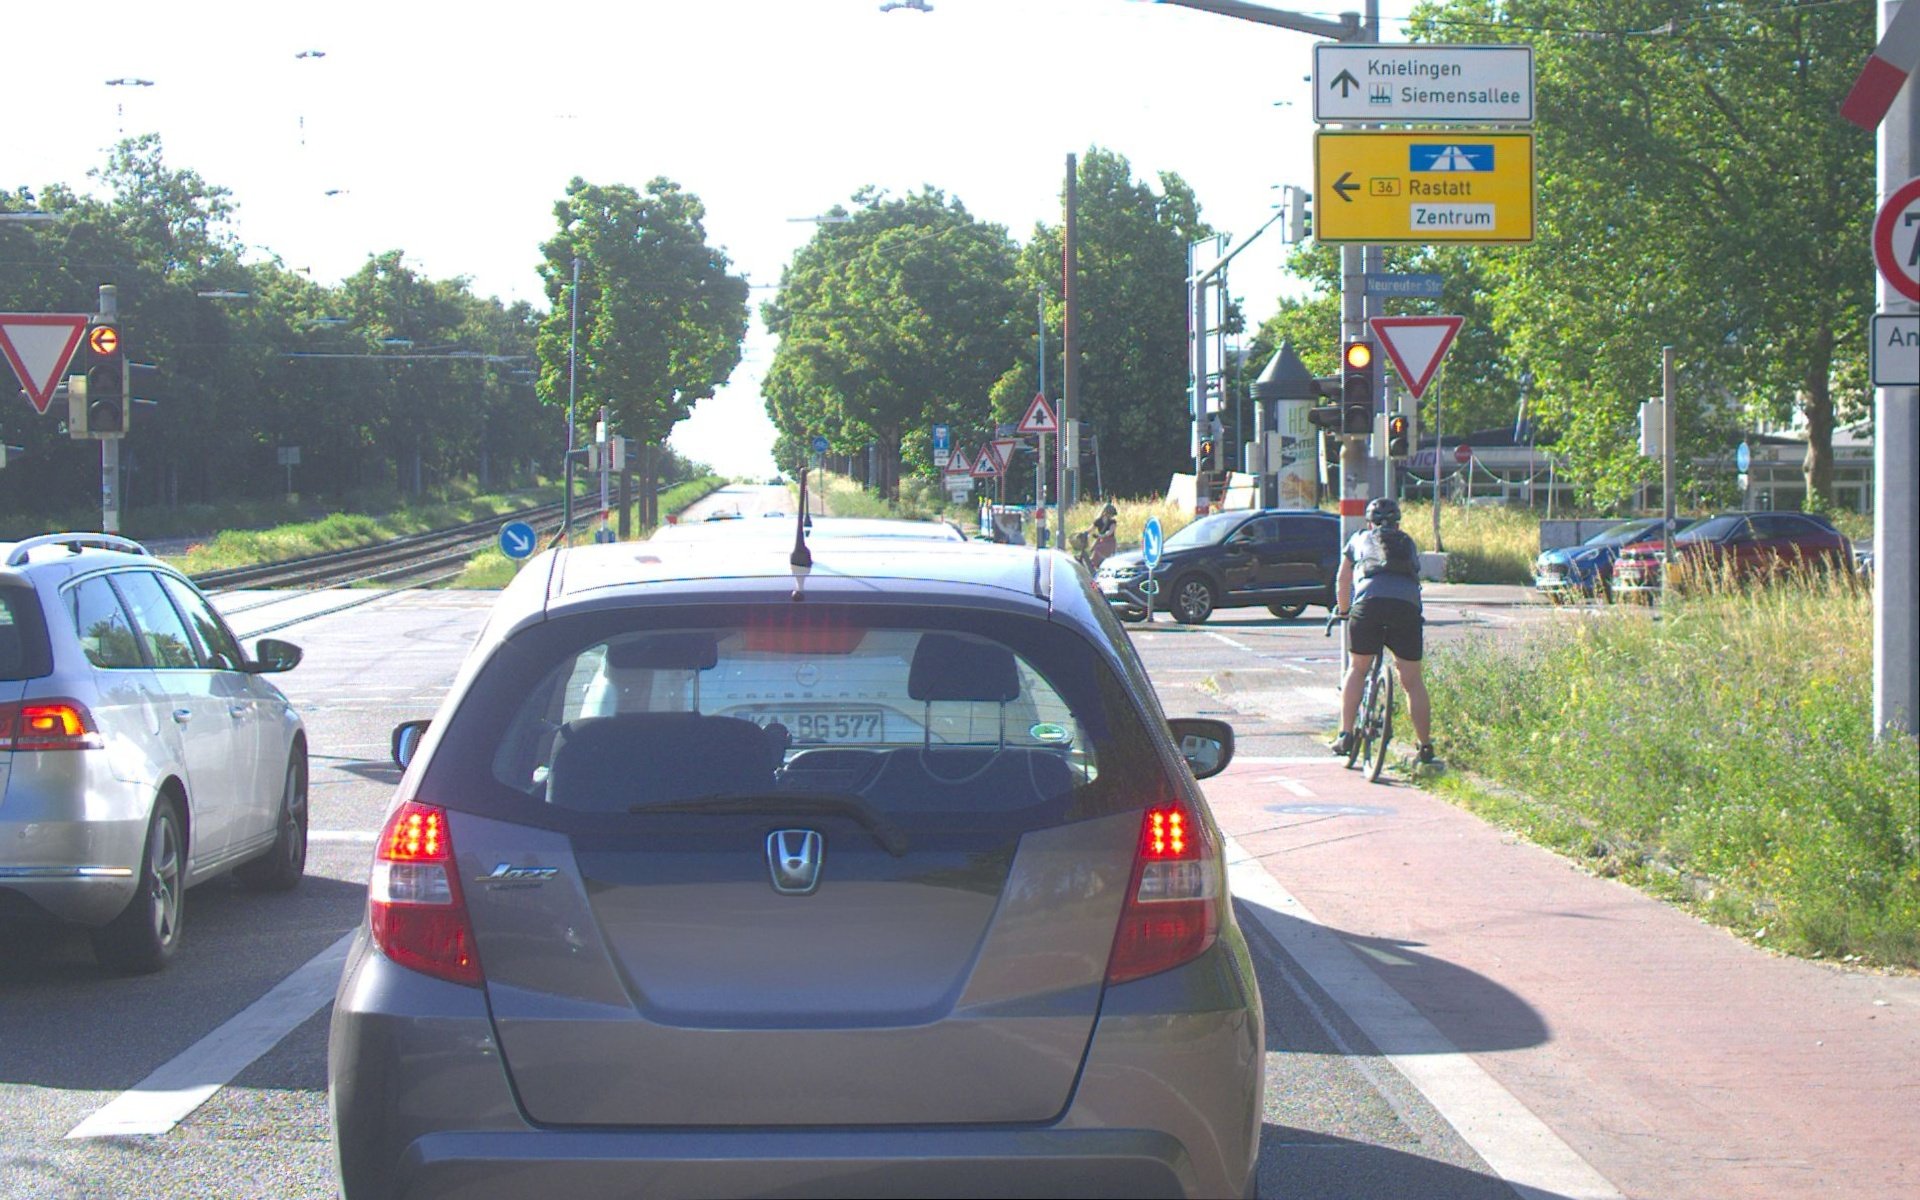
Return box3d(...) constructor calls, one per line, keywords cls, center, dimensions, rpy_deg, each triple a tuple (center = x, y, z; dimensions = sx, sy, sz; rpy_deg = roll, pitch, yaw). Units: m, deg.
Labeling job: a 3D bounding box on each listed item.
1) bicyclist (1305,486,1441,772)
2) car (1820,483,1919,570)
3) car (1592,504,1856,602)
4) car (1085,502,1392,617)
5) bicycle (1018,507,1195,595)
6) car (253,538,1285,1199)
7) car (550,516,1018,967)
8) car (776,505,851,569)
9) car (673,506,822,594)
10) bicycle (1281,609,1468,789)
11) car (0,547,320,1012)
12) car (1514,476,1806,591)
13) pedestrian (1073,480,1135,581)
box3d(cls="bicyclist", center=(2.536, 0.170, 21.170), dimensions=(0.666, 1.710, 0.948), rpy_deg=(1, 0, -1))
box3d(cls="car", center=(17.785, -1.358, 63.068), dimensions=(3.742, 1.564, 1.491), rpy_deg=(-1, 1, -23))
box3d(cls="car", center=(12.442, -0.782, 55.975), dimensions=(3.986, 1.525, 1.606), rpy_deg=(-1, 1, -23))
box3d(cls="car", center=(3.886, -0.582, 47.964), dimensions=(3.970, 1.539, 1.593), rpy_deg=(-1, 1, -21))
box3d(cls="bicycle", center=(2.692, -0.910, 62.906), dimensions=(3.203, 1.569, 0.821), rpy_deg=(-1, 1, -25))
box3d(cls="car", center=(-0.396, 0.601, 7.367), dimensions=(1.668, 1.457, 3.587), rpy_deg=(0, 1, -3))
box3d(cls="car", center=(-0.651, 0.449, 14.001), dimensions=(1.611, 1.557, 4.288), rpy_deg=(0, 1, -1))
box3d(cls="car", center=(-3.252, -1.396, 75.783), dimensions=(1.522, 1.374, 3.677), rpy_deg=(0, 1, -4))
box3d(cls="car", center=(-3.664, -0.884, 59.877), dimensions=(1.710, 1.473, 3.999), rpy_deg=(0, 1, 10))
box3d(cls="bicycle", center=(2.525, 0.574, 21.255), dimensions=(0.722, 0.985, 2.876), rpy_deg=(1, 1, -1))
box3d(cls="car", center=(-3.534, 0.529, 12.784), dimensions=(1.619, 1.452, 4.085), rpy_deg=(1, 1, -1))
box3d(cls="car", center=(12.270, -1.151, 60.259), dimensions=(4.686, 1.873, 2.001), rpy_deg=(1, 1, -23))
box3d(cls="pedestrian", center=(2.634, -1.276, 62.886), dimensions=(0.852, 1.830, 0.791), rpy_deg=(-1, 1, -26))
